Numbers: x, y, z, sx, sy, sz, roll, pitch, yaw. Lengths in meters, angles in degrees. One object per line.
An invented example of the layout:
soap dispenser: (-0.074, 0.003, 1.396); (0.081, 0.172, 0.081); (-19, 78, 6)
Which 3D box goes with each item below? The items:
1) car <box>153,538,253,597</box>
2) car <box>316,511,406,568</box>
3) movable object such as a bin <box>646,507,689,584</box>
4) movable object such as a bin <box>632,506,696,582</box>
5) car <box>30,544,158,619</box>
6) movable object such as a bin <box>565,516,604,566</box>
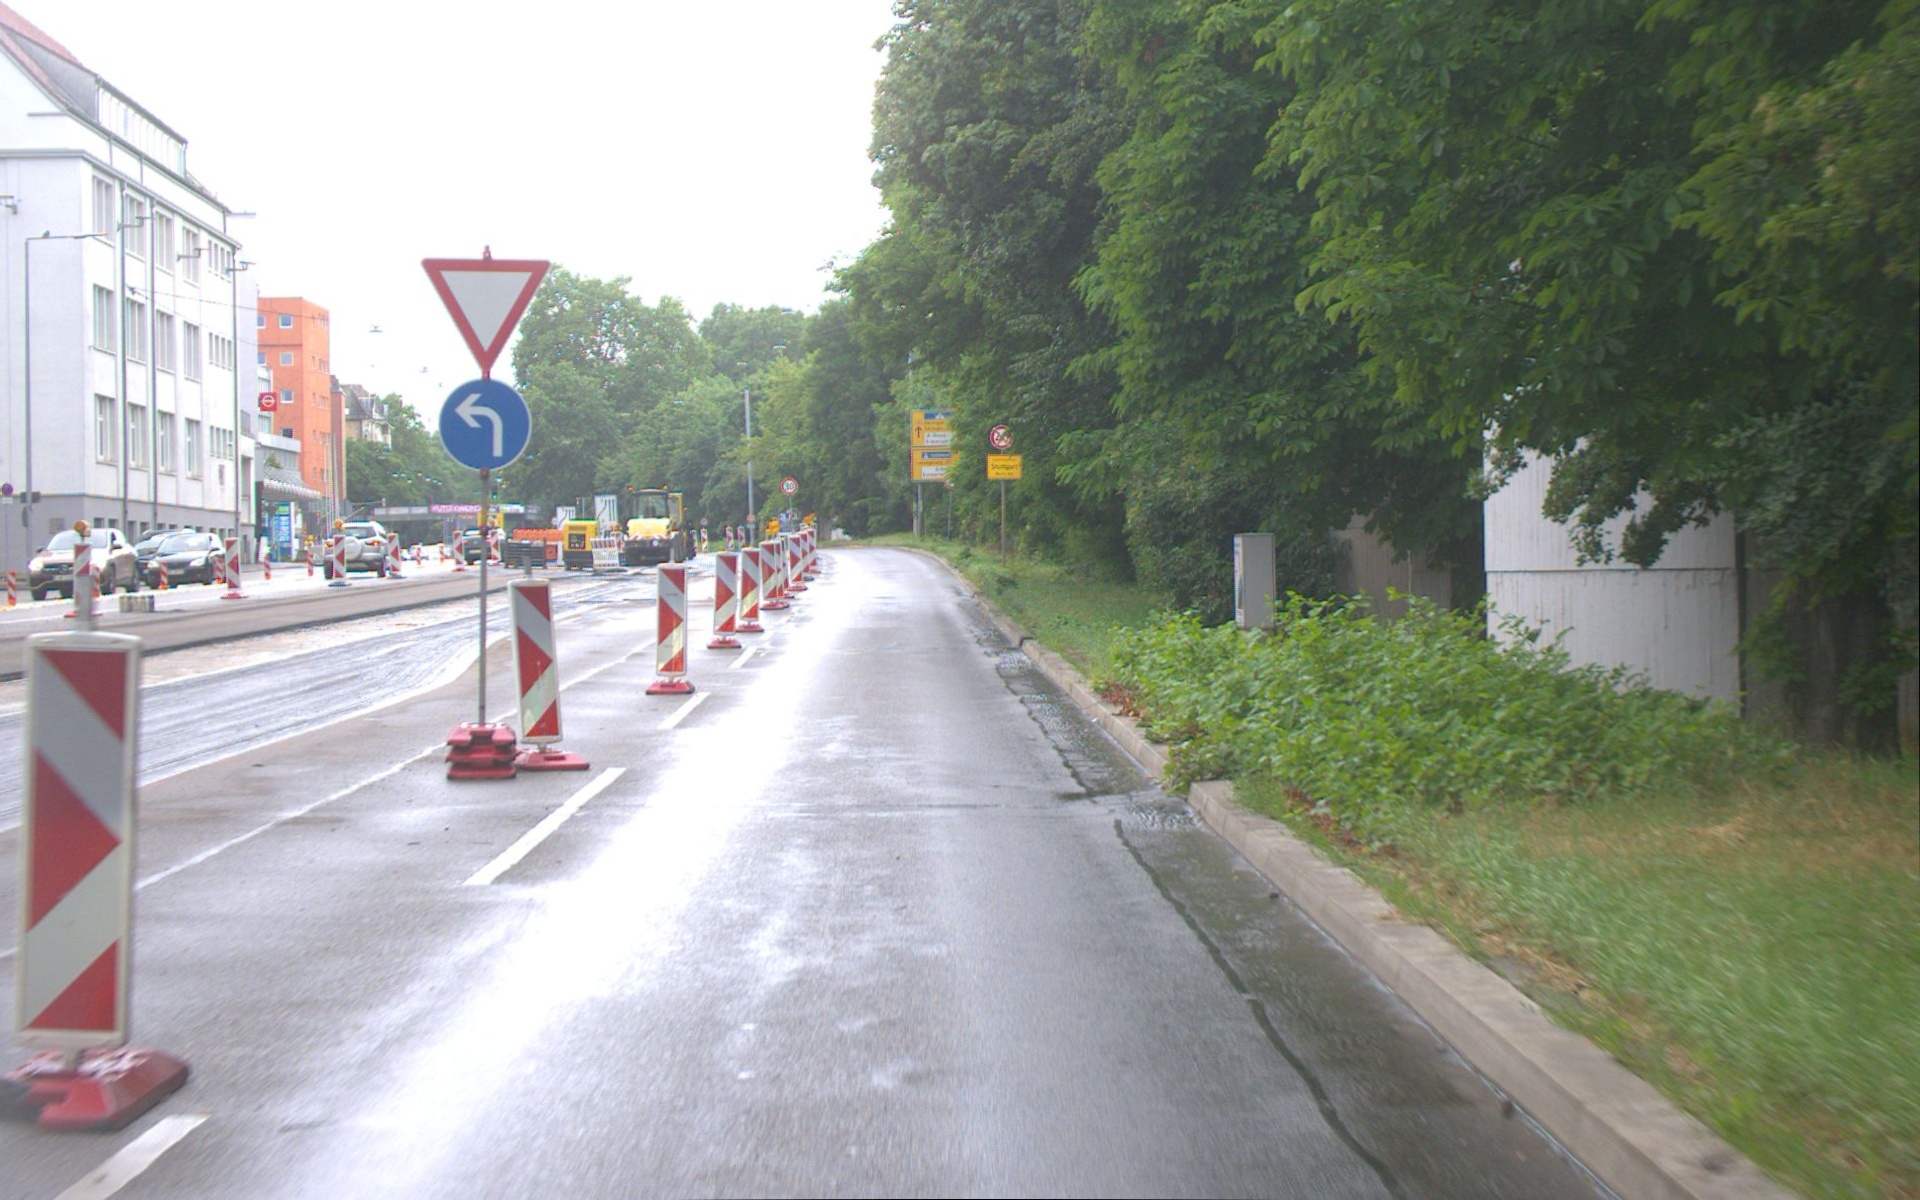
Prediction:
car: (-20.354, -0.891, 92.600); (1.859, 1.470, 3.732); (-3, 1, -1)
car: (-17.521, -1.768, 100.735); (1.892, 1.644, 4.396); (0, 1, 0)
movable object such as a bin: (-11.676, -2.193, 137.342); (1.465, 2.998, 3.725); (-3, 1, -3)
movable object such as a bin: (-10.498, -1.998, 122.078); (1.902, 2.600, 5.383); (-1, 1, -2)
car: (-20.122, -0.464, 80.025); (1.859, 1.613, 4.365); (-3, 1, -1)
movable object such as a bin: (-12.393, -1.946, 113.531); (1.083, 1.639, 2.439); (-1, 1, -2)
